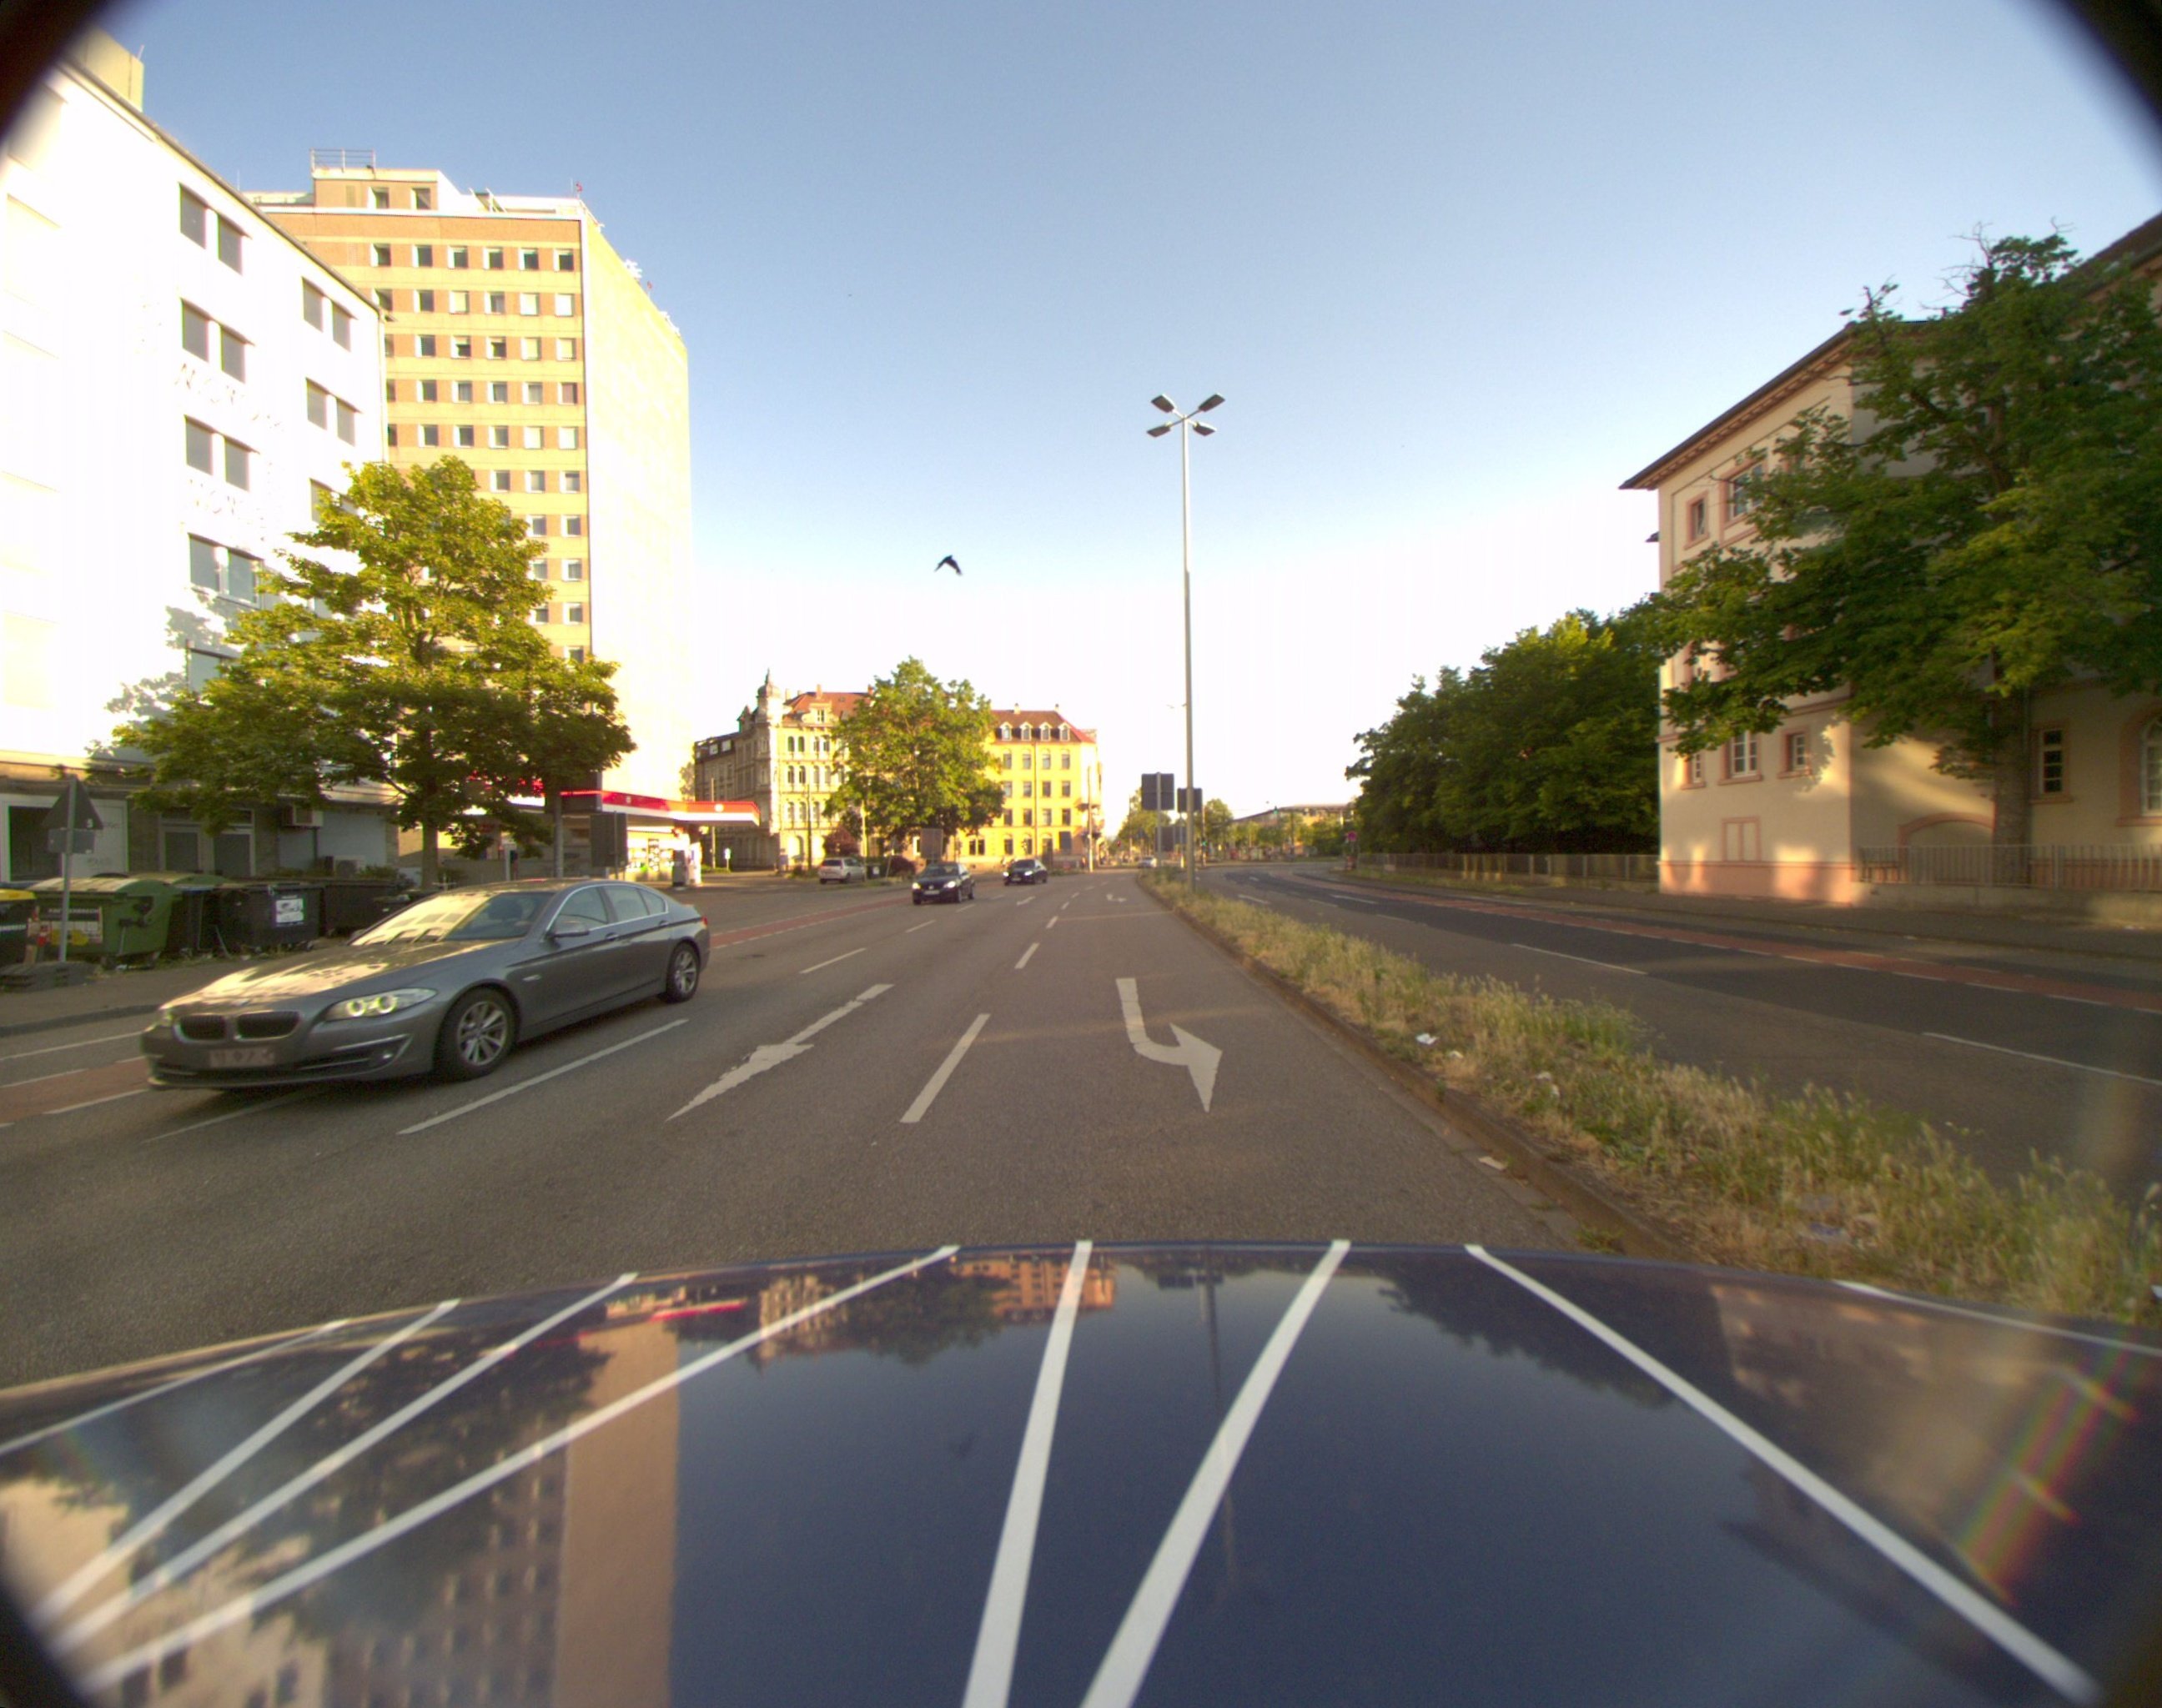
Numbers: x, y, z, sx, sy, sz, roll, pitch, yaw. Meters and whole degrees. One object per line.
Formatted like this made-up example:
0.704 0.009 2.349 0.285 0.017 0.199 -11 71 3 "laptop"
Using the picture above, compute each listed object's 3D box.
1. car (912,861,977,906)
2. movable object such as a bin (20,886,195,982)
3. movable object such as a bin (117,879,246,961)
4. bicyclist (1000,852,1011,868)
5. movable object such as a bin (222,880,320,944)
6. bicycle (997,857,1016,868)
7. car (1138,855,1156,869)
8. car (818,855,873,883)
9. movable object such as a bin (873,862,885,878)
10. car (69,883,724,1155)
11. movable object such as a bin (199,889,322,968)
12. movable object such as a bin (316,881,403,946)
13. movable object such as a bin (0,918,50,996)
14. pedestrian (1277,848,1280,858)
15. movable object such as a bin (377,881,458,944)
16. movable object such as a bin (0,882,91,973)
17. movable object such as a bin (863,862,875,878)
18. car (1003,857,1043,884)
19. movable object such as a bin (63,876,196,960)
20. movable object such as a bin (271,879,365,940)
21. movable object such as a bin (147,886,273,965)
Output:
-4.902 1.019 27.749 1.584 1.441 3.872 -2 0 1 "car"
-15.809 1.271 12.396 1.351 1.415 1.105 -1 1 -4 "movable object such as a bin"
-17.121 1.223 14.501 1.034 1.440 1.162 -1 1 -2 "movable object such as a bin"
-7.710 0.590 77.834 1.065 1.639 0.732 -1 1 -7 "bicyclist"
-17.927 1.259 16.854 0.956 1.320 1.098 -1 1 -2 "movable object such as a bin"
-7.648 0.862 77.681 1.927 1.053 0.451 -1 1 -7 "bicycle"
7.319 0.910 83.872 1.673 1.410 4.443 -2 0 8 "car"
-13.948 0.851 45.213 1.688 1.508 3.798 -1 1 8 "car"
-13.141 1.009 49.492 0.544 1.013 0.688 -1 1 5 "movable object such as a bin"
-5.342 1.114 7.052 1.819 1.441 4.666 -2 0 0 "car"
-14.929 1.329 13.870 0.956 1.320 1.162 -1 1 -2 "movable object such as a bin"
-15.864 1.291 16.735 0.956 1.320 0.953 -1 1 -2 "movable object such as a bin"
-15.510 1.467 10.684 0.853 1.039 0.819 -1 1 -4 "movable object such as a bin"
34.983 -0.128 134.409 0.467 1.695 0.419 -1 1 1 "pedestrian"
-14.877 1.288 17.074 0.956 1.320 0.953 -1 1 -2 "movable object such as a bin"
-18.687 1.269 13.343 1.034 1.490 1.162 -1 1 -2 "movable object such as a bin"
-13.862 1.024 49.703 0.544 1.013 0.688 -1 1 5 "movable object such as a bin"
-3.298 0.919 43.943 1.731 1.441 4.046 -2 0 3 "car"
-18.296 1.198 14.655 1.034 1.490 1.162 -1 1 -2 "movable object such as a bin"
-16.930 1.211 16.897 0.956 1.276 1.098 -1 1 -2 "movable object such as a bin"
-16.036 1.291 14.033 0.956 1.320 1.162 -1 1 -2 "movable object such as a bin"
